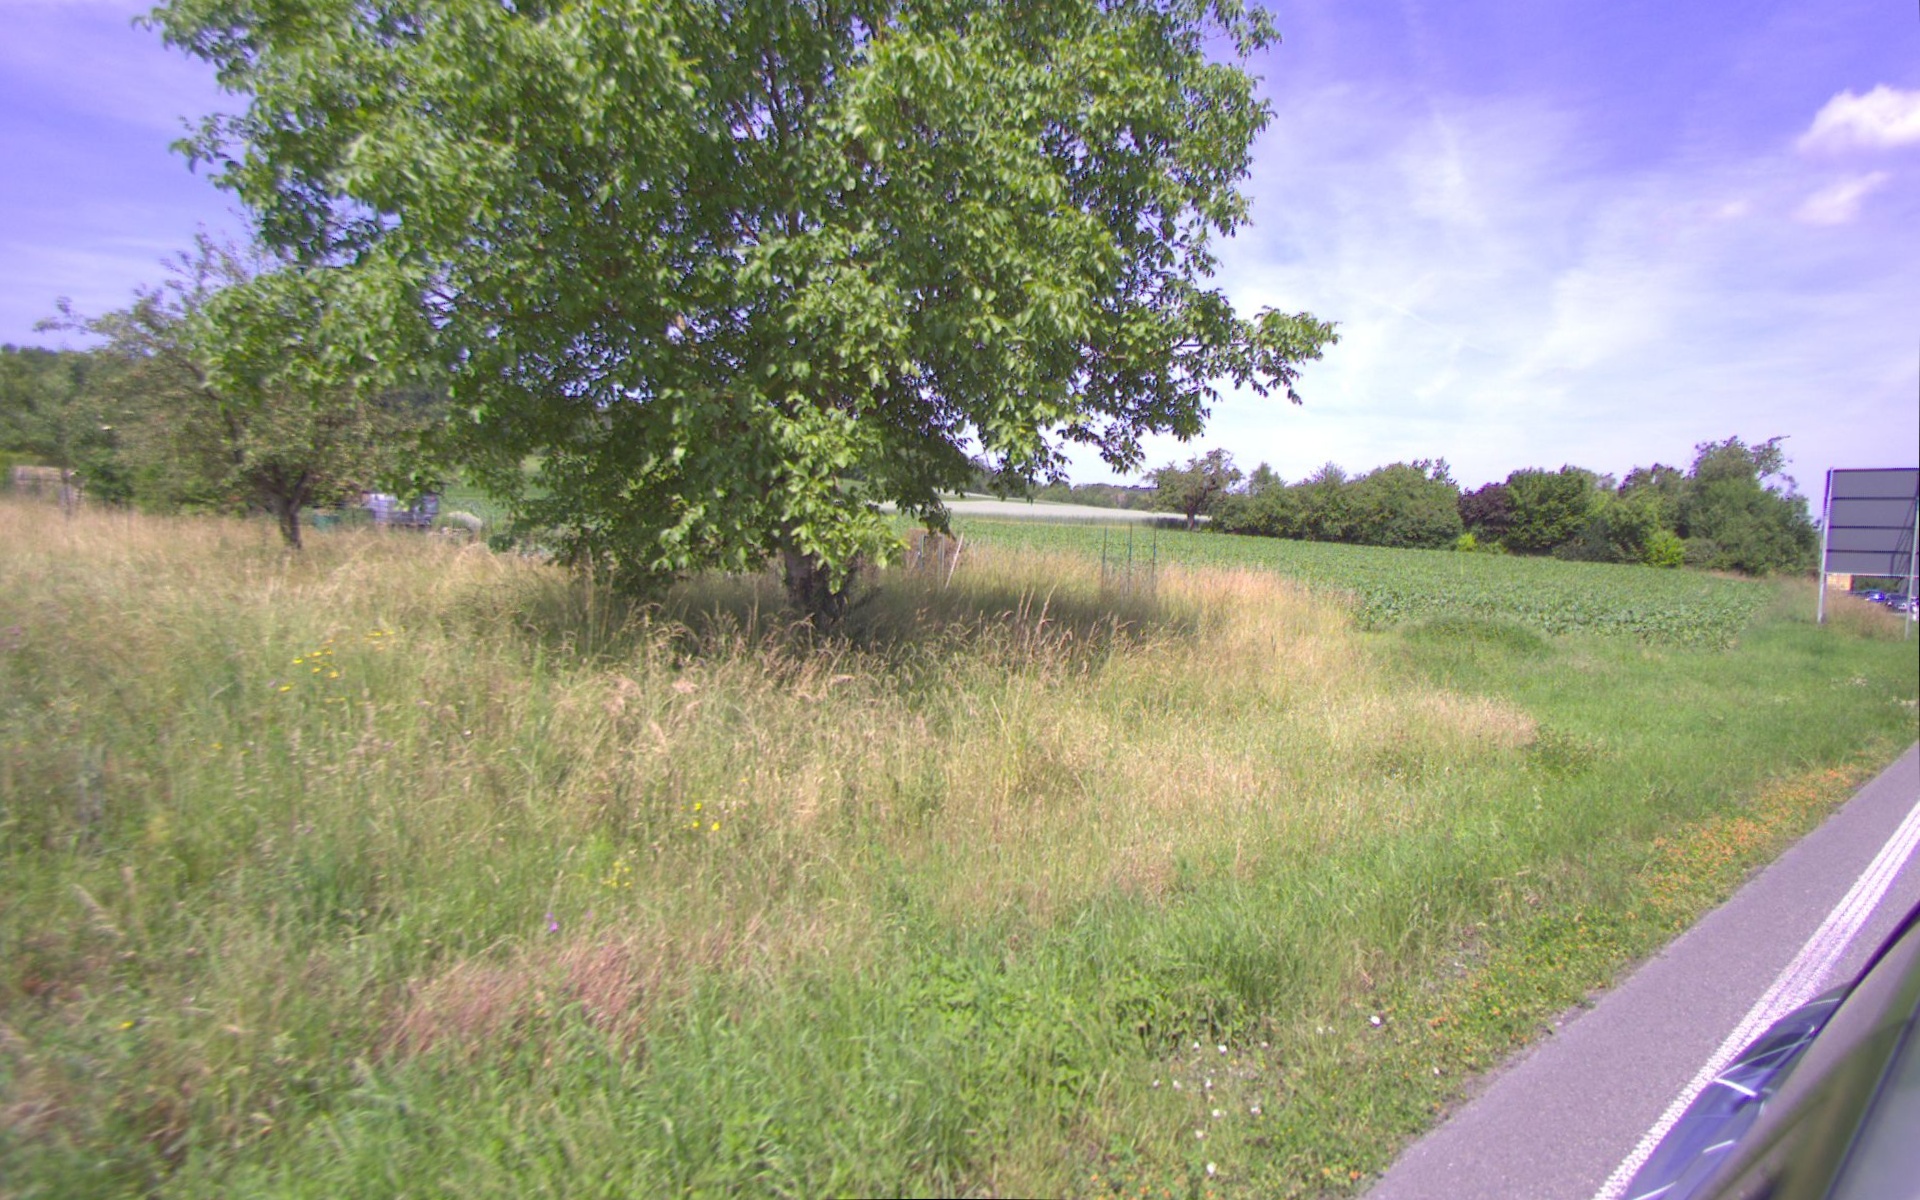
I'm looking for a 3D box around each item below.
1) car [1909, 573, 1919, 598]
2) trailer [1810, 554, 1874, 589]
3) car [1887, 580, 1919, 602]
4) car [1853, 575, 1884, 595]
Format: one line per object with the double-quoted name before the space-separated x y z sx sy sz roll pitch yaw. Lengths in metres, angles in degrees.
"car" 93.181 -1.374 97.121 2.163 2.331 4.848 3 3 34
"trailer" 112.272 -3.687 129.046 2.981 4.090 12.793 5 5 28
"car" 74.618 -0.739 79.620 1.815 1.537 3.950 6 5 35
"car" 87.597 -1.457 97.631 1.657 1.669 3.950 6 5 35
